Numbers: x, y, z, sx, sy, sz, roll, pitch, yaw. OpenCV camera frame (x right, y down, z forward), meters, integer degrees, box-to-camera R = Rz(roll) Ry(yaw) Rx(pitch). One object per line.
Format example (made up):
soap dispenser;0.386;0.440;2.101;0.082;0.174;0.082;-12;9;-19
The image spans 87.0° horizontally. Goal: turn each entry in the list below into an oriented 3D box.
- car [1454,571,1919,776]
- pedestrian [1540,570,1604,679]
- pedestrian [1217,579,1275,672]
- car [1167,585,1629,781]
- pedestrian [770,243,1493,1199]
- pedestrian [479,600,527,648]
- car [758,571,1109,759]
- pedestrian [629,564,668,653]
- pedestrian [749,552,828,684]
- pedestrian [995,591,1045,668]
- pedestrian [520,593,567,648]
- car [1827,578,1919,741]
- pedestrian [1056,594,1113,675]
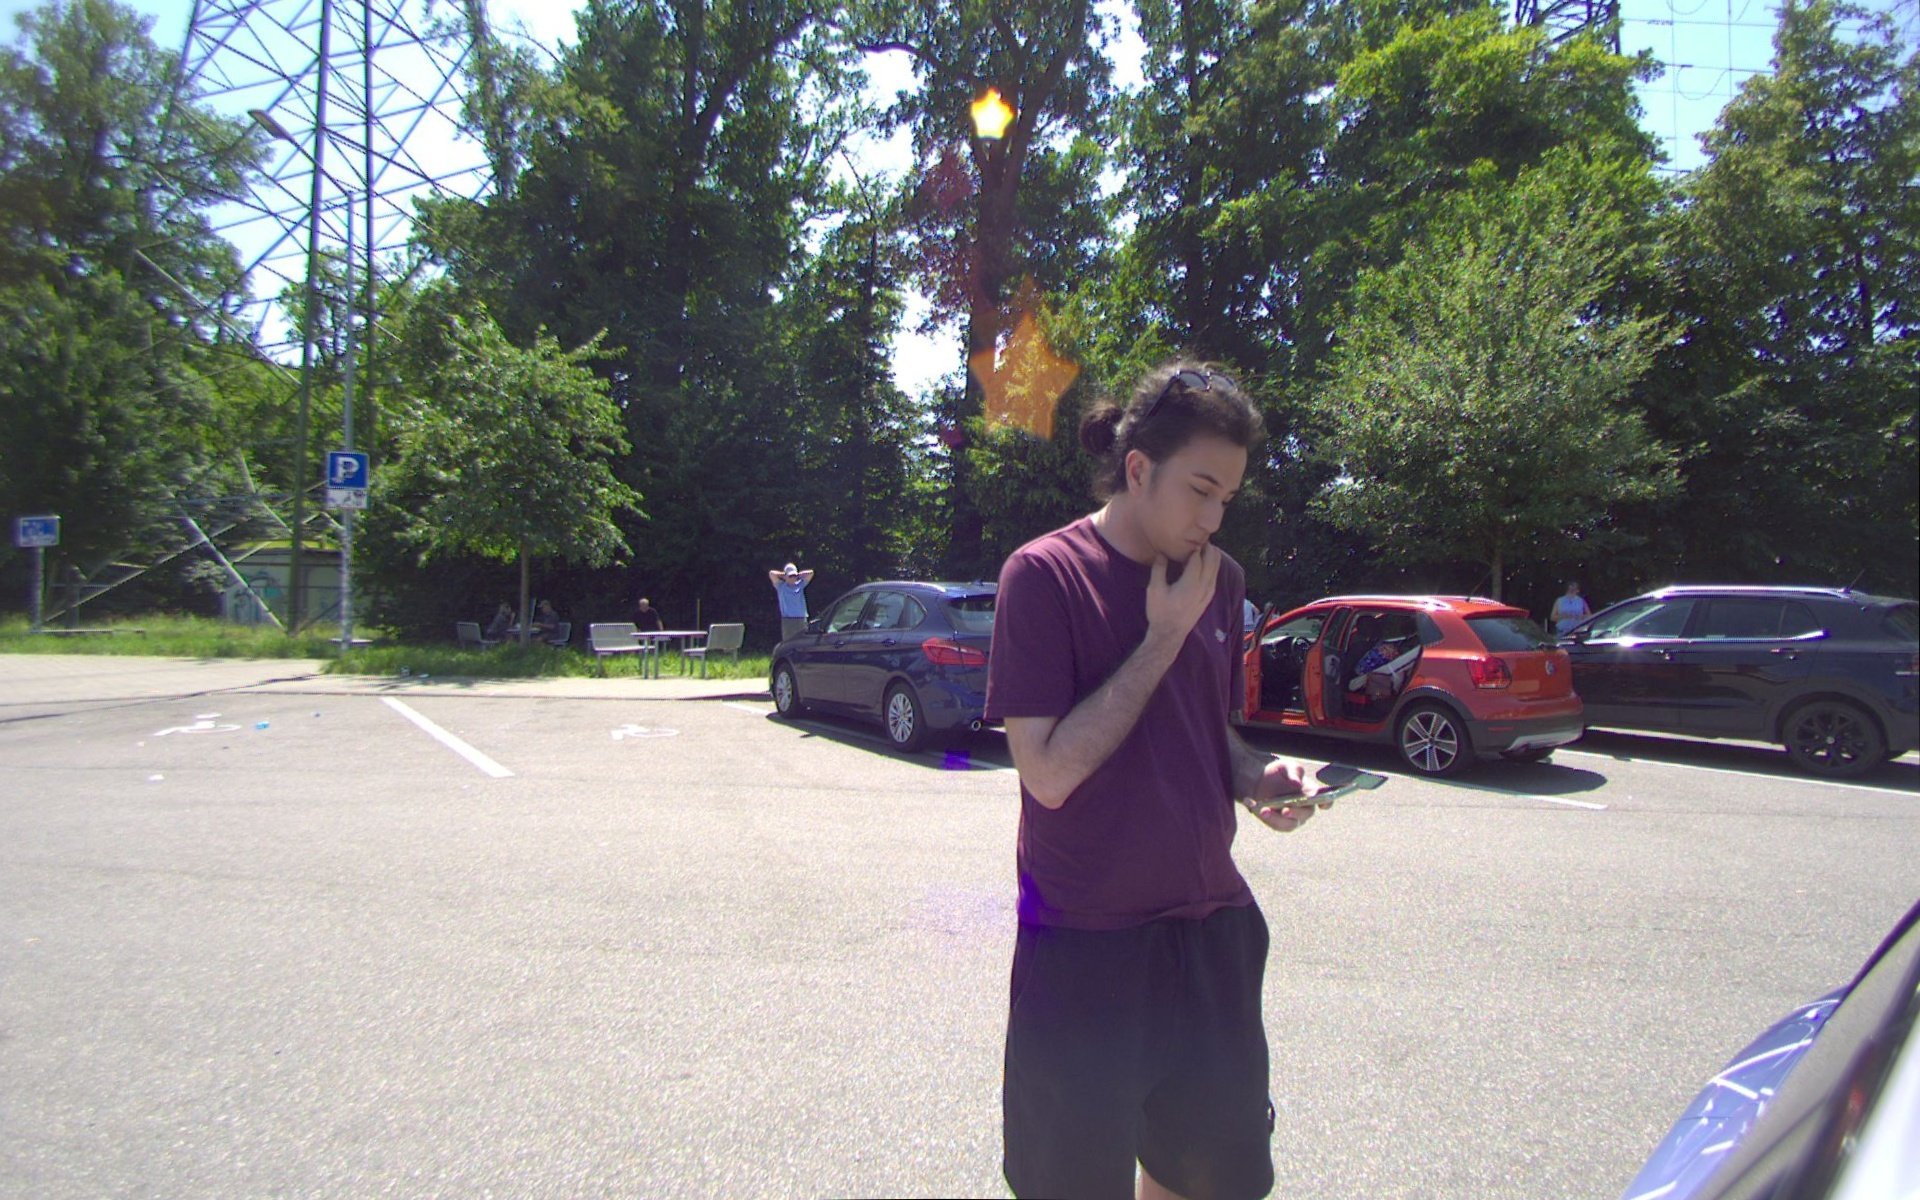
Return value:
car;7.218;0.574;9.844;1.807;1.612;3.967;1;0;-38
pedestrian;9.359;0.361;15.503;0.707;1.614;0.803;0;-1;23
pedestrian;5.089;0.447;18.052;0.761;1.614;0.810;1;-1;-2
car;3.937;0.620;9.657;1.746;1.475;3.710;1;0;-33
pedestrian;0.306;0.511;1.719;0.828;1.797;0.926;0;-1;45
pedestrian;-10.346;0.541;22.928;0.796;1.062;0.714;1;-1;-43
car;-0.474;0.543;10.706;1.809;1.588;4.017;1;0;-35
pedestrian;-6.591;0.182;21.434;0.700;1.851;0.906;1;-1;-12
pedestrian;-2.419;0.246;14.277;0.786;1.784;0.809;1;-1;-39
pedestrian;1.019;0.504;17.302;0.656;1.285;0.655;1;-1;-17
pedestrian;-9.683;0.460;23.543;0.796;1.253;0.713;1;-1;-44
car;10.912;0.598;9.435;1.745;1.612;3.972;1;0;-32
pedestrian;2.064;0.568;16.852;0.656;1.311;0.832;1;-1;-17
